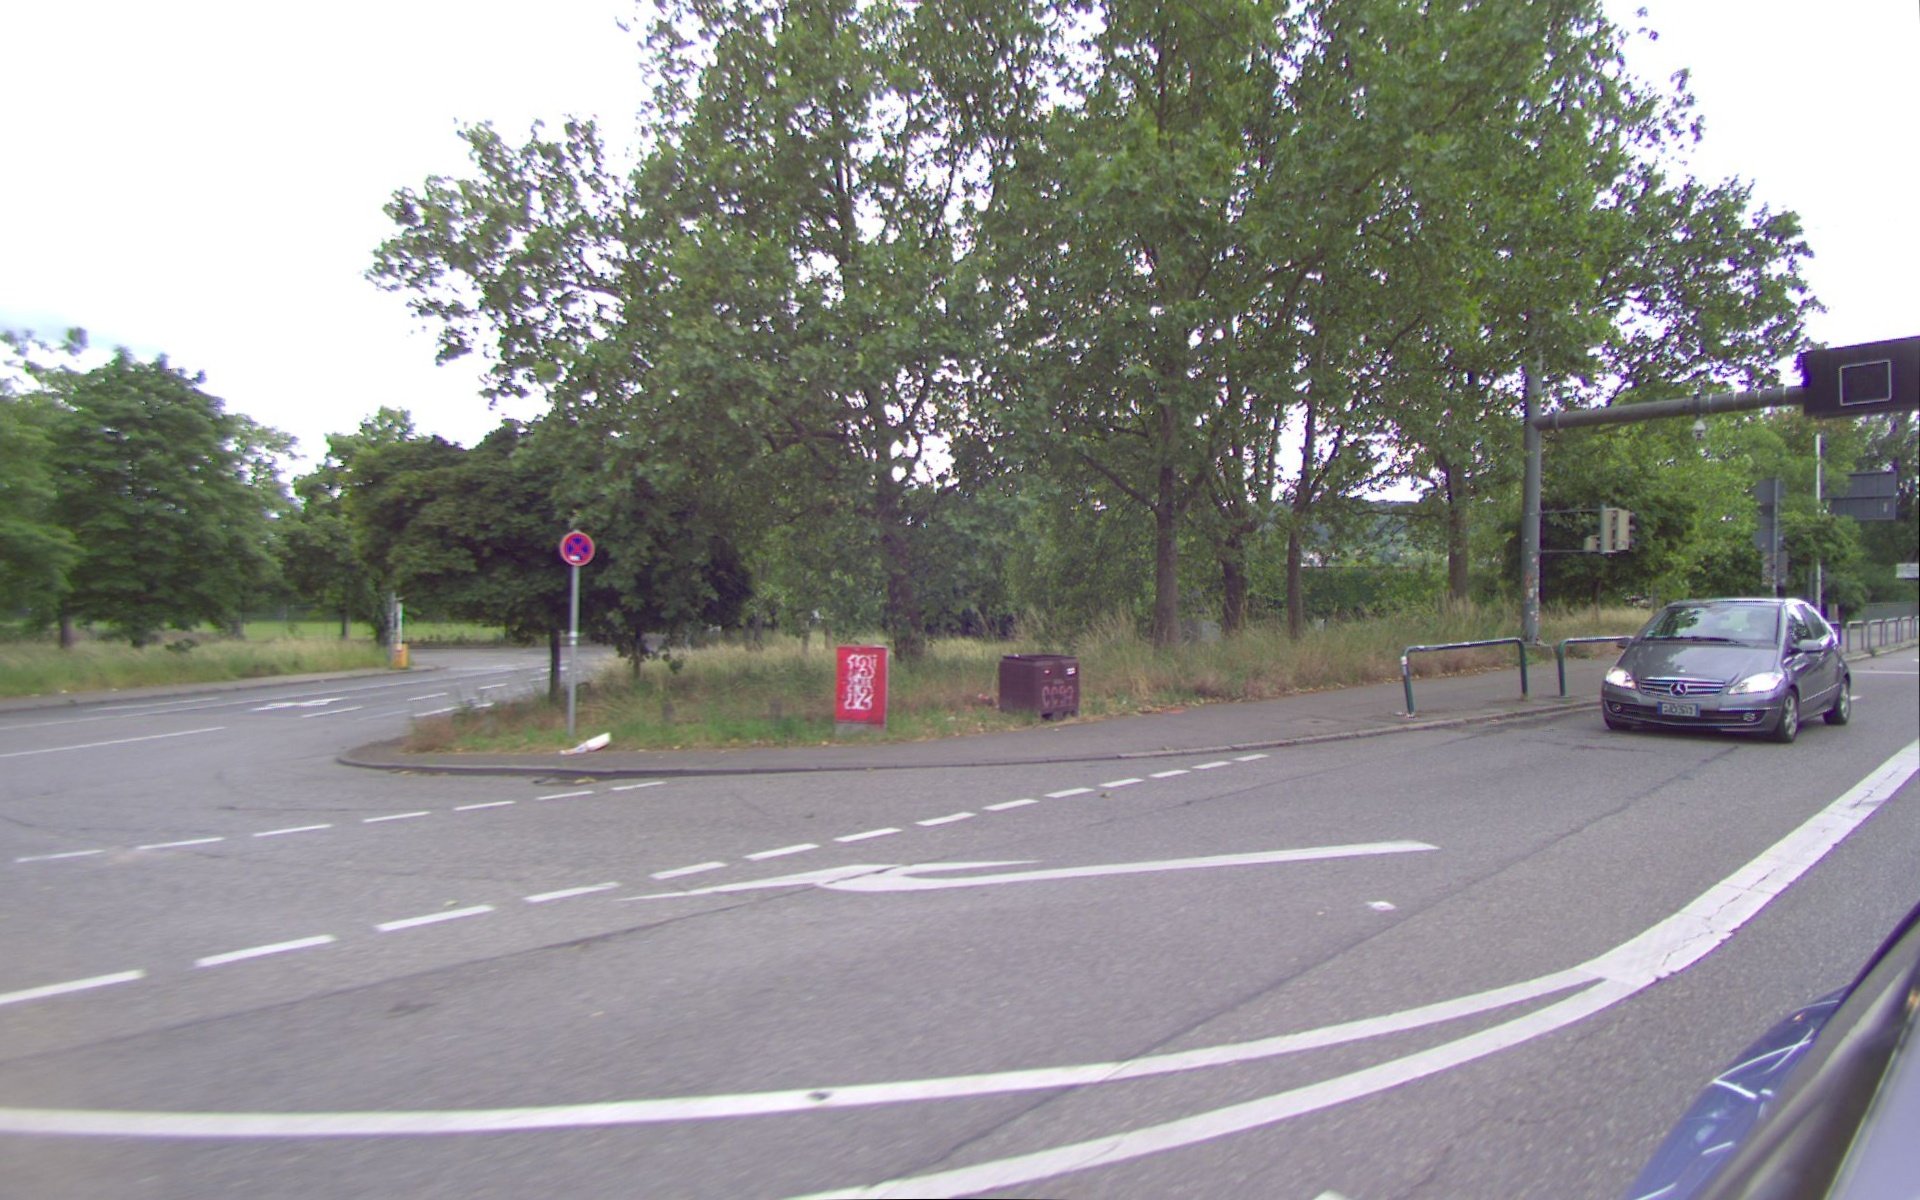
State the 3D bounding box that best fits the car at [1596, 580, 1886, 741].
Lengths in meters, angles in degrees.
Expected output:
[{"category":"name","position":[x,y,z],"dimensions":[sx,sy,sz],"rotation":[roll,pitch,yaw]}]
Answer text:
[{"category":"car","position":[9.514,0.638,12.247],"dimensions":[3.959,1.637,1.831],"rotation":[1,-1,-37]}]
